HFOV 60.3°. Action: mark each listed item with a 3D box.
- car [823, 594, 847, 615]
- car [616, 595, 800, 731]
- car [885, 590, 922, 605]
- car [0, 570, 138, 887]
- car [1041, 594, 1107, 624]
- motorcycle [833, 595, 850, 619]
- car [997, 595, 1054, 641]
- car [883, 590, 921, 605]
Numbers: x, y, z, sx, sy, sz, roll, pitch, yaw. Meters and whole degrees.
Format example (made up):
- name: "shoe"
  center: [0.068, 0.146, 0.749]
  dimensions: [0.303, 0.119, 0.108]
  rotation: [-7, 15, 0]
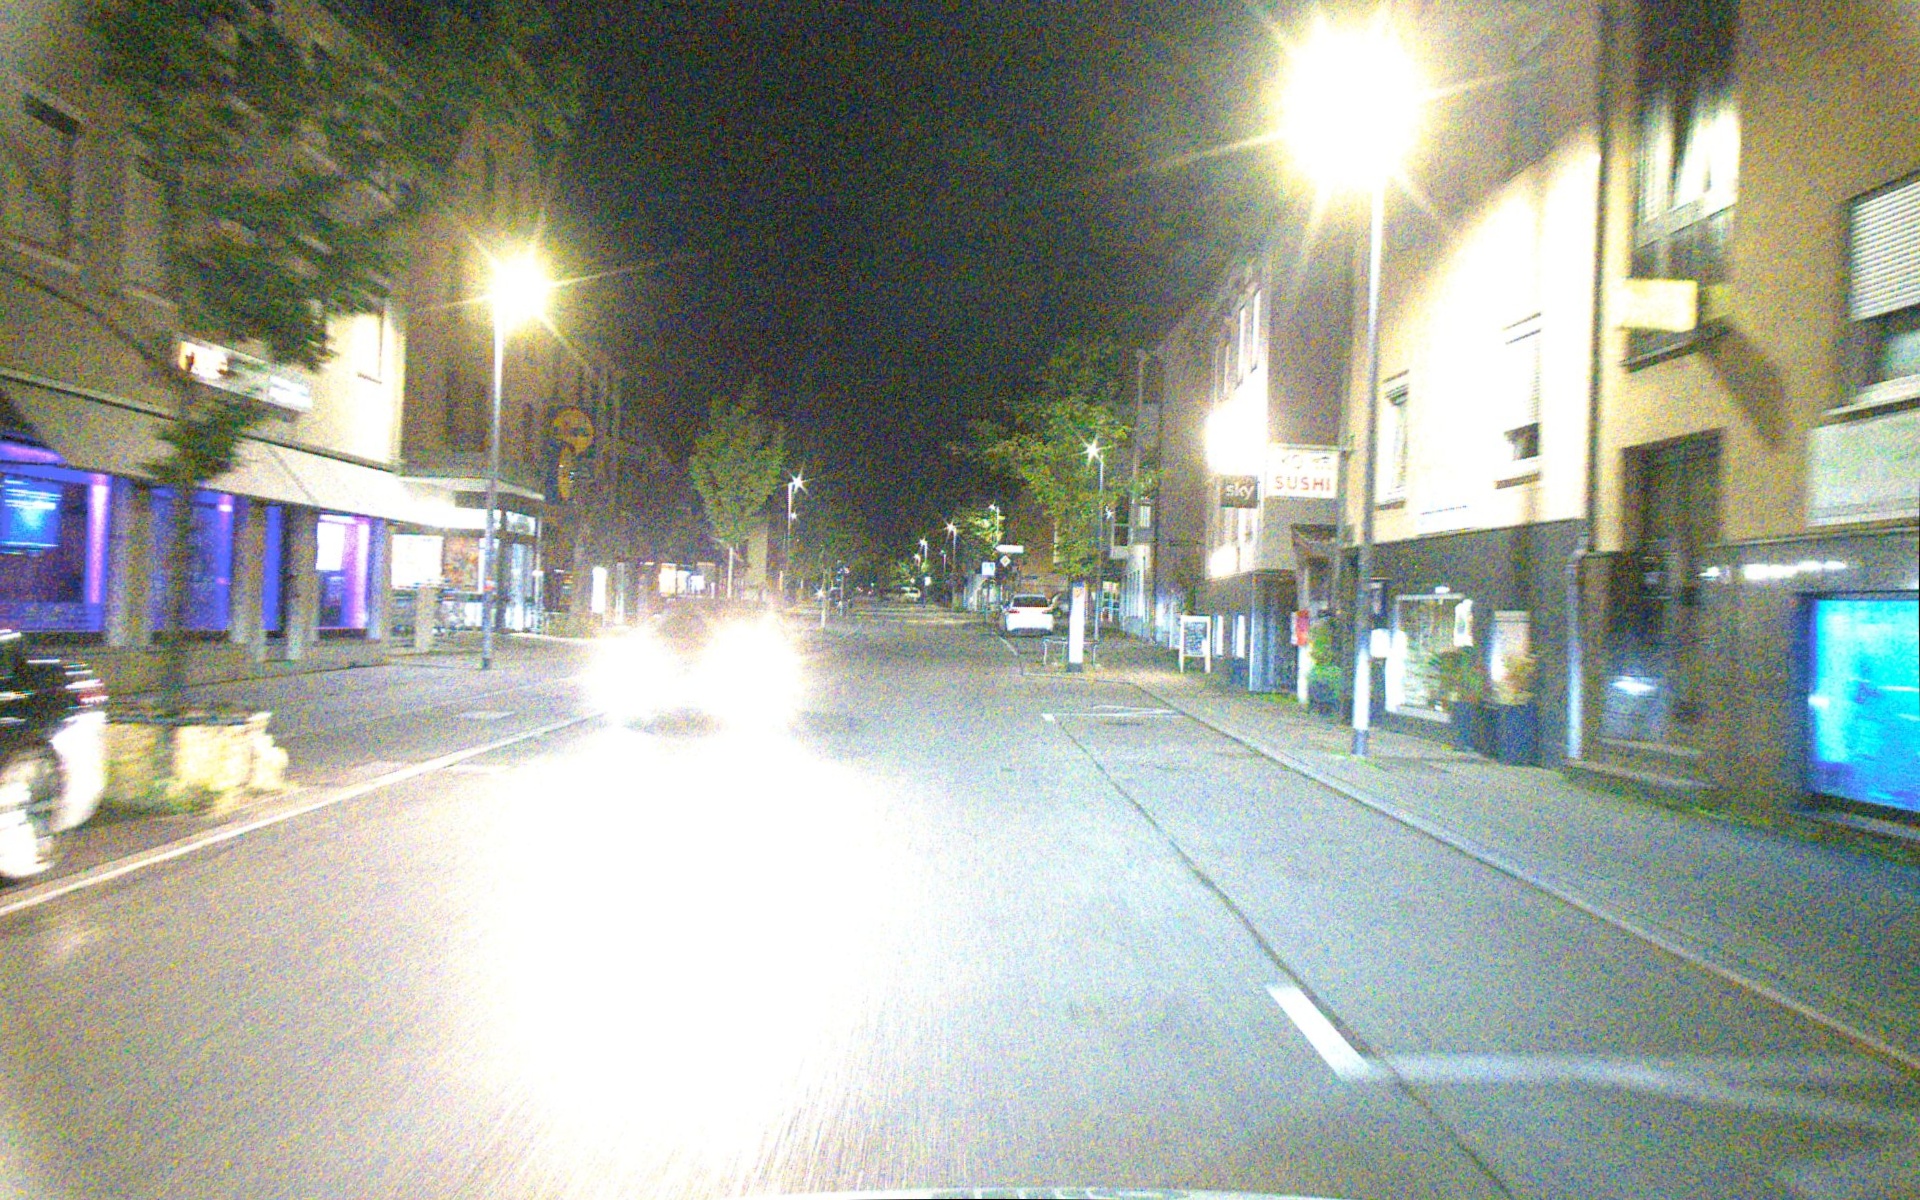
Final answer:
- name: "car"
  center: [-9.292, 0.330, 123.338]
  dimensions: [1.654, 1.537, 4.275]
  rotation: [2, 0, -4]
- name: "car"
  center: [-2.949, 0.689, 20.064]
  dimensions: [1.682, 1.453, 3.814]
  rotation: [1, 0, -1]
- name: "car"
  center: [-7.978, -0.399, 232.144]
  dimensions: [5.082, 2.049, 2.099]
  rotation: [0, 0, -6]
- name: "car"
  center: [-5.286, 0.553, 6.325]
  dimensions: [1.858, 1.444, 4.929]
  rotation: [3, 0, -1]
- name: "car"
  center: [6.453, 0.504, 93.587]
  dimensions: [3.437, 1.551, 1.819]
  rotation: [-2, 0, -6]
- name: "motorcycle"
  center: [-7.440, 0.421, 104.310]
  dimensions: [0.730, 1.477, 2.196]
  rotation: [1, 0, 4]
- name: "car"
  center: [2.348, 0.637, 60.081]
  dimensions: [1.708, 1.596, 4.206]
  rotation: [1, 0, -3]
- name: "car"
  center: [-8.003, -0.377, 229.070]
  dimensions: [5.082, 2.049, 2.099]
  rotation: [0, 0, -6]
